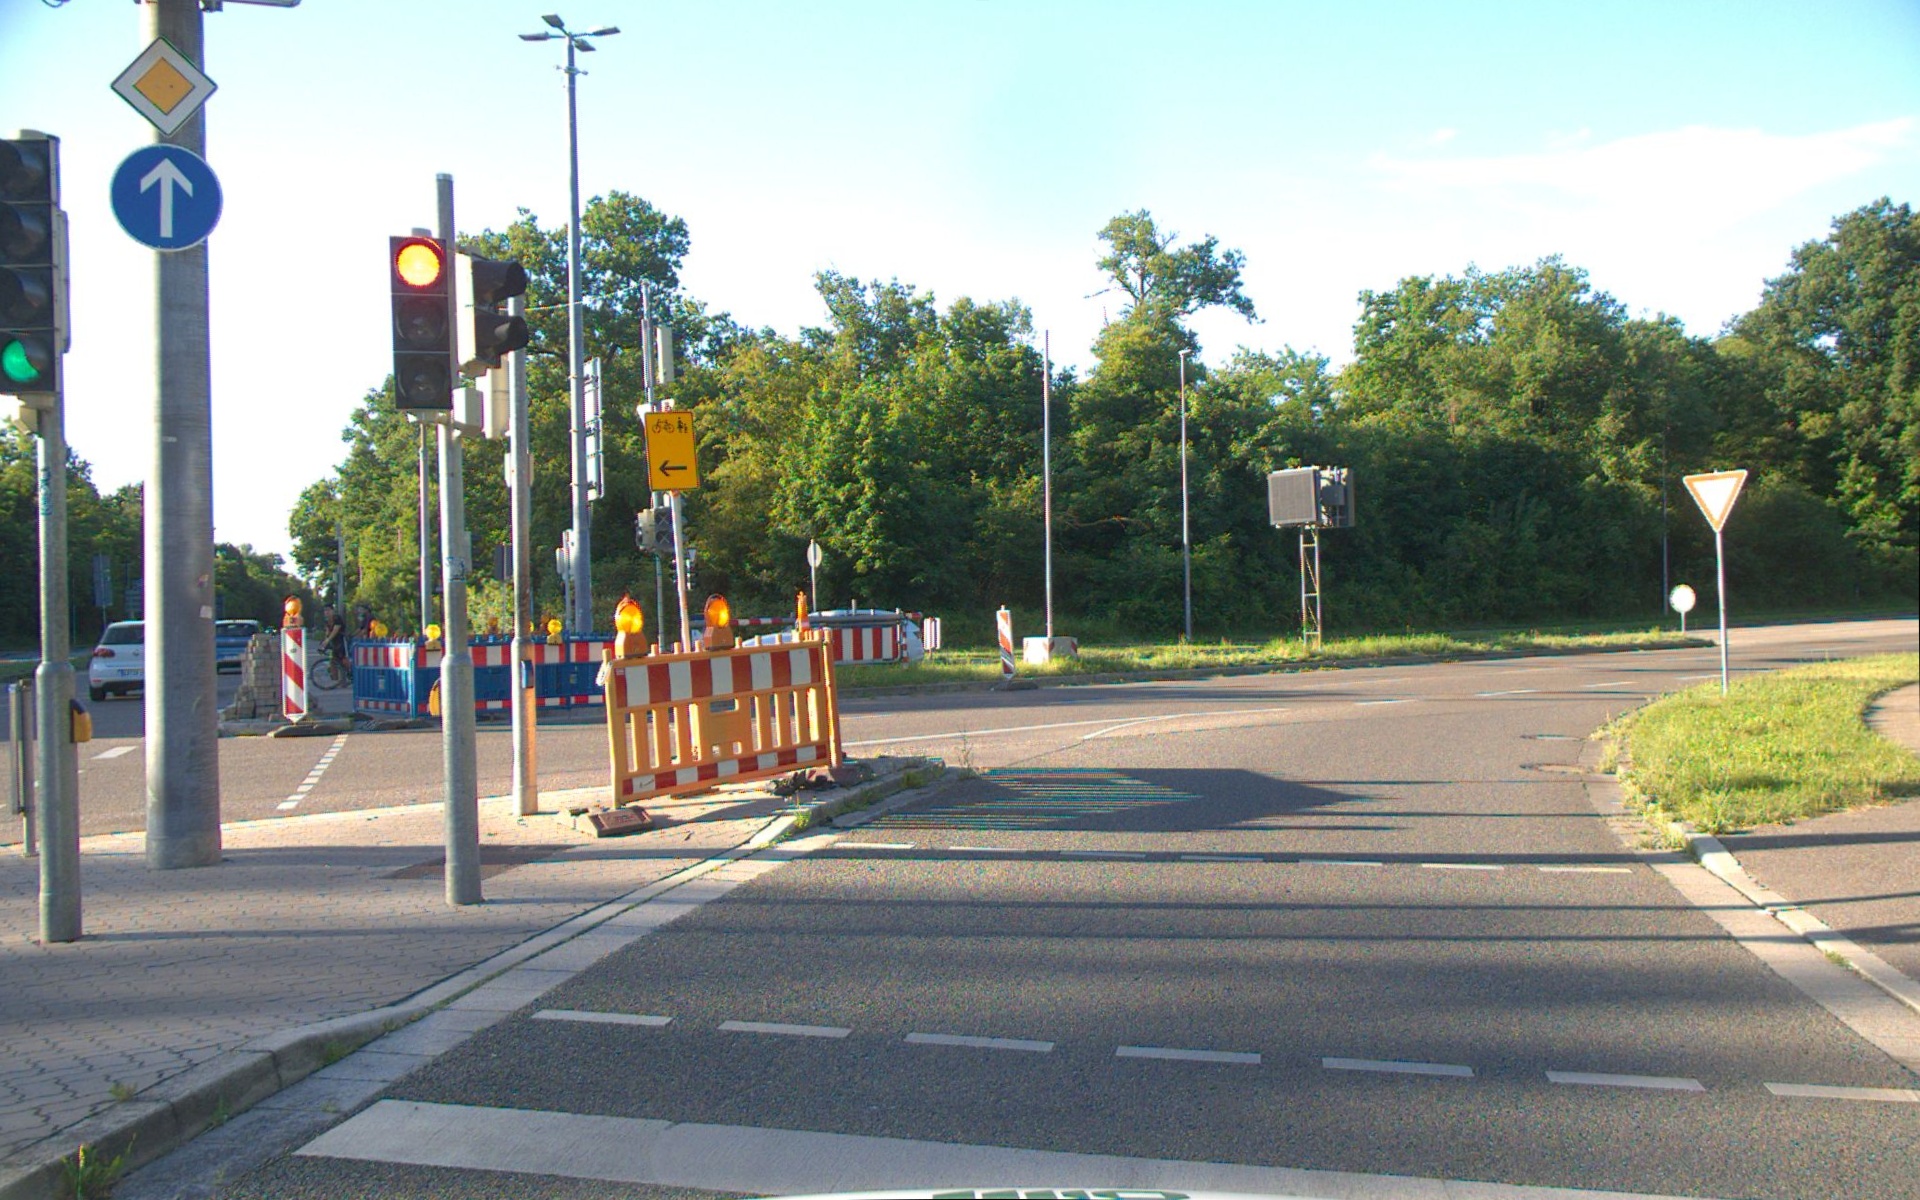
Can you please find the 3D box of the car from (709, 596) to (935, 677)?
[{"bbox_3d":[-3.049,0.788,37.173,4.787,1.608,1.971,-1,0,-40],"label":"car"}]

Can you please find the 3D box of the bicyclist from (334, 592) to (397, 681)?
[{"bbox_3d":[-13.441,0.813,37.405,0.950,1.963,1.011,-1,-1,40],"label":"bicyclist"}]

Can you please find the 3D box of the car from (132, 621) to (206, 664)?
[{"bbox_3d":[-28.110,1.483,58.860,1.834,1.469,3.980,-1,-1,-18],"label":"car"}]

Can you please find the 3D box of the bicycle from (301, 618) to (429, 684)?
[{"bbox_3d":[-13.424,1.133,37.408,0.950,1.407,2.626,-1,-1,40],"label":"bicycle"}]

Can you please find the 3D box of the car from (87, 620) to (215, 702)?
[{"bbox_3d":[-15.866,1.148,32.630,1.913,1.439,3.974,-2,0,-22],"label":"car"}]

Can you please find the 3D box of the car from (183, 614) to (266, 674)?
[{"bbox_3d":[-21.063,1.234,47.502,1.966,1.563,3.974,-2,0,-22],"label":"car"}]
